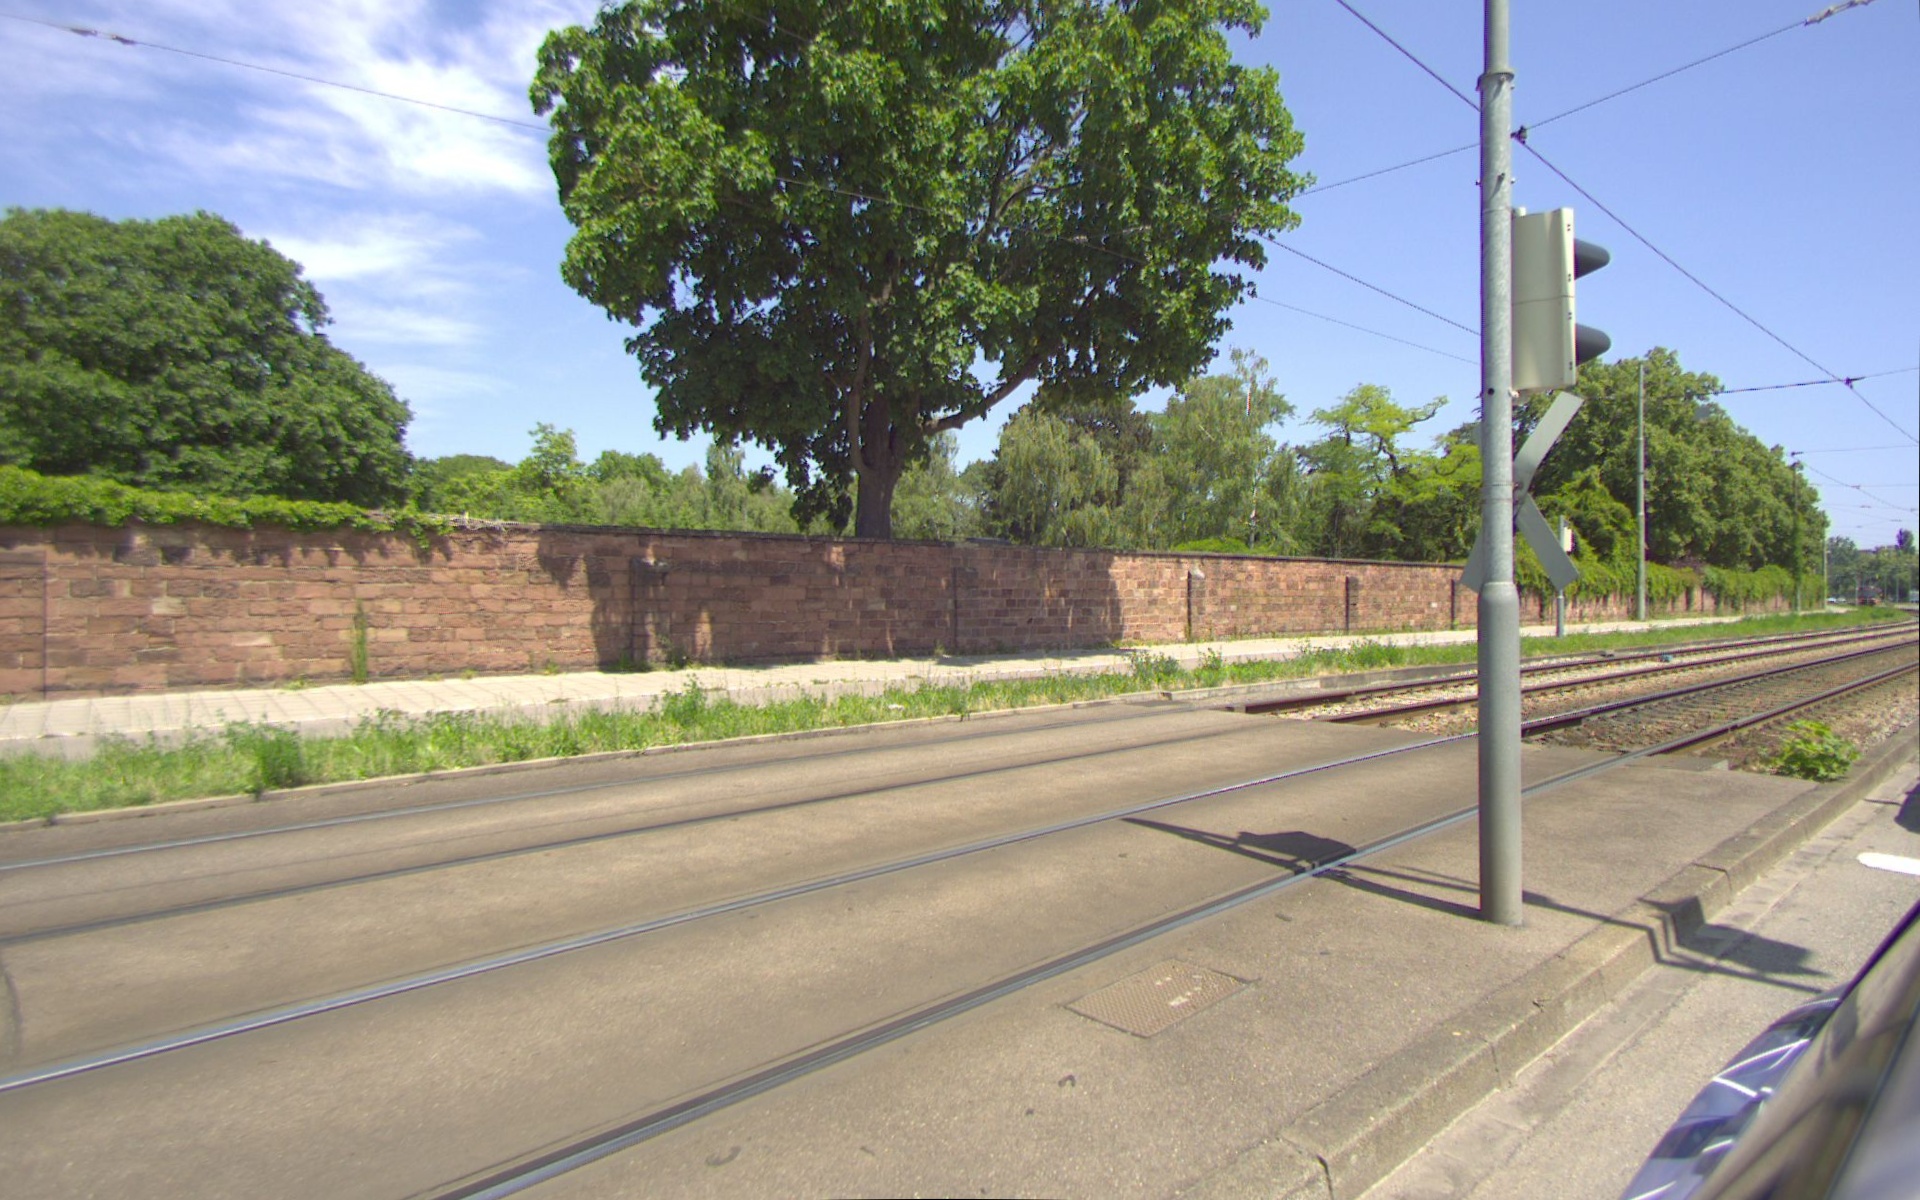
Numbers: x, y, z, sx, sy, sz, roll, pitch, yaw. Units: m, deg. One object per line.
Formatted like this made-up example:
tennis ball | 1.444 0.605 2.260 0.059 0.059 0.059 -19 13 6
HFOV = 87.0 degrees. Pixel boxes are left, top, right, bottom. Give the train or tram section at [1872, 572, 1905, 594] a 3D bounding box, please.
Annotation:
train or tram section | 165.876 -3.093 180.683 14.016 3.855 2.810 -1 0 -42
